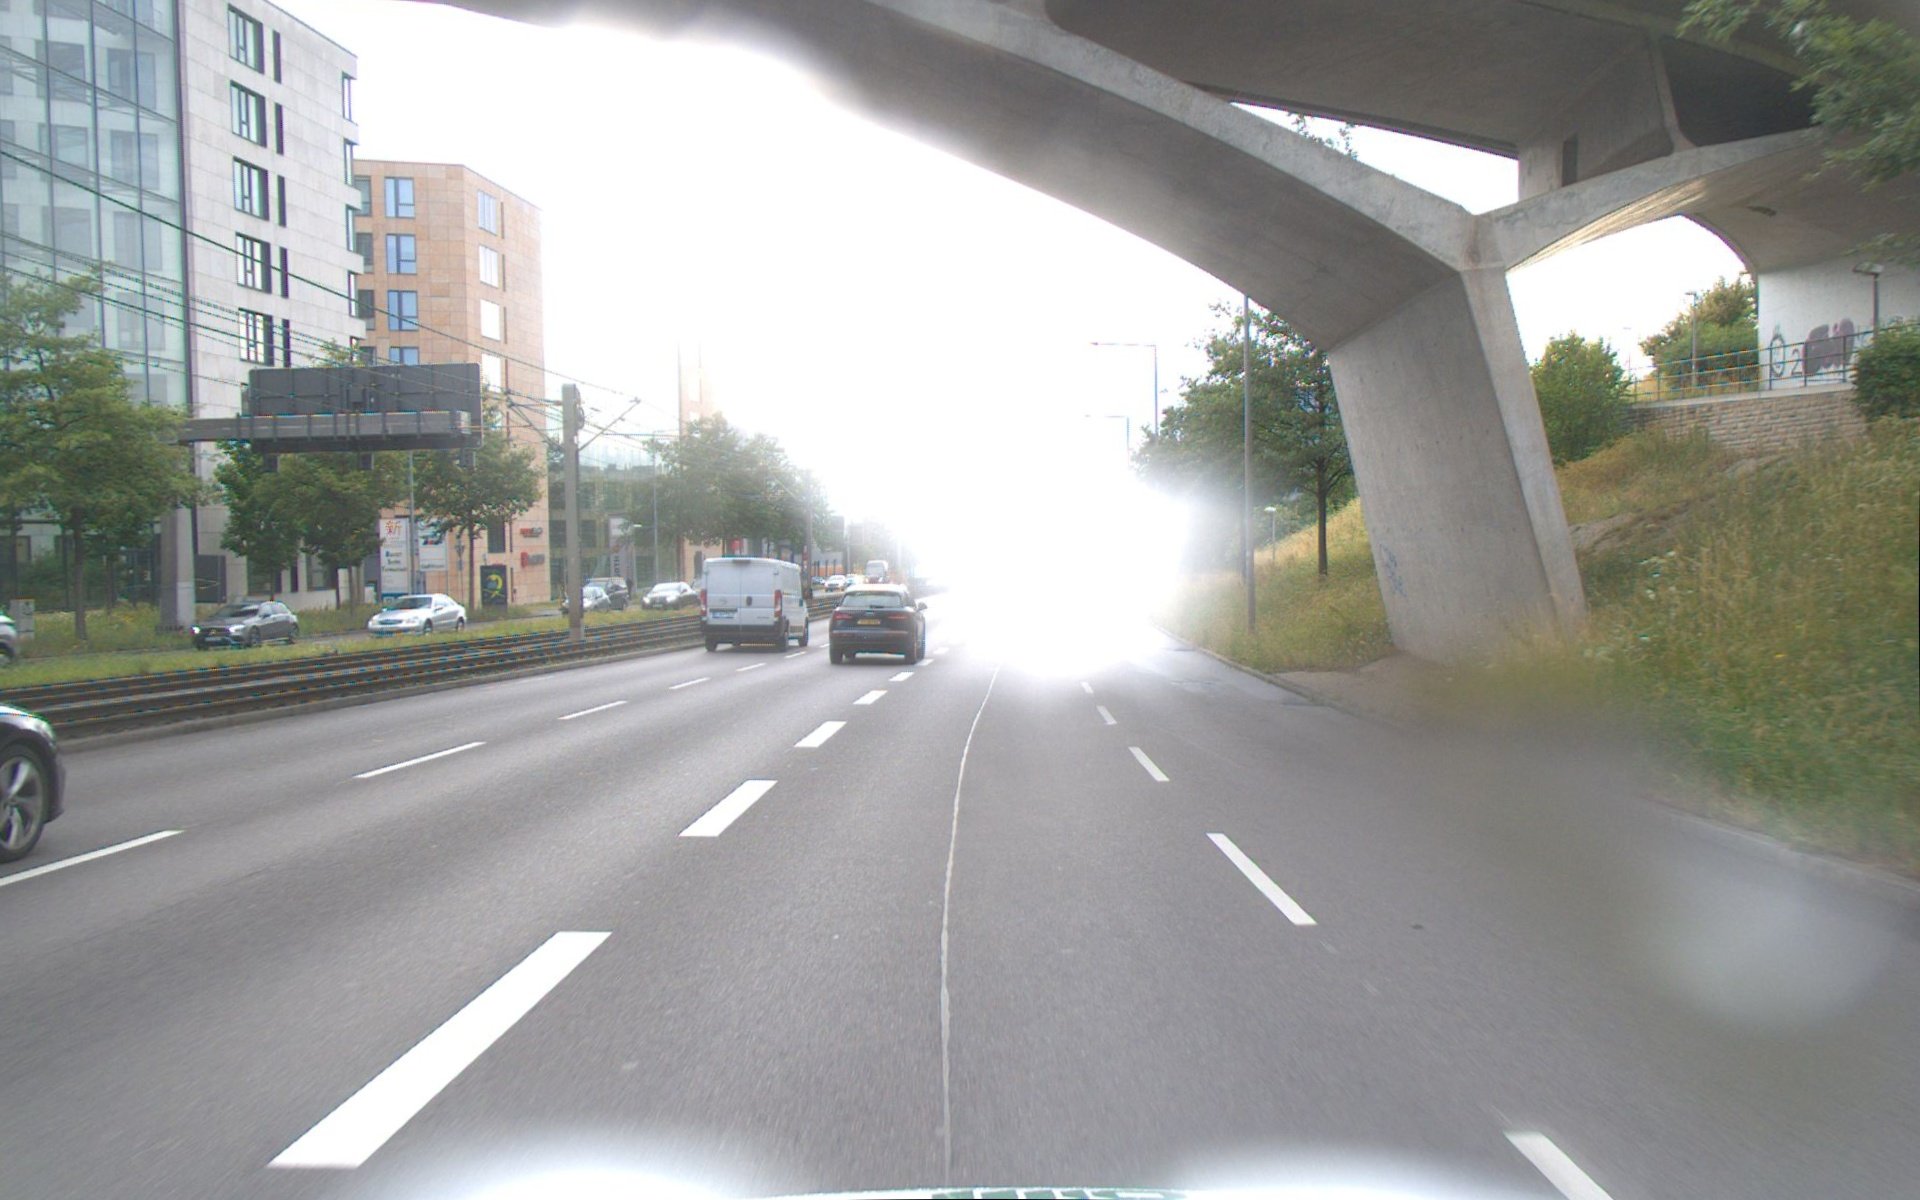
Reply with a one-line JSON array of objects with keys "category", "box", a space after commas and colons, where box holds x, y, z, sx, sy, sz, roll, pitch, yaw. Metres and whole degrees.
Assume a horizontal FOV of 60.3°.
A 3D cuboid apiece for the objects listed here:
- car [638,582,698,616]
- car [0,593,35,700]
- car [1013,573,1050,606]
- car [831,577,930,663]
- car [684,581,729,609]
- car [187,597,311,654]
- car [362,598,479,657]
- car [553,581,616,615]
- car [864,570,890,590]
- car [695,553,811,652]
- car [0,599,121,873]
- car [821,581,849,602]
[{"category": "car", "box": [-14.450, -0.075, 82.095, 1.772, 1.560, 4.872, 1, 1, 4]}, {"category": "car", "box": [-17.460, 0.822, 27.247, 1.880, 1.807, 4.227, 1, 1, 3]}, {"category": "car", "box": [3.618, -0.540, 83.973, 1.752, 1.618, 4.000, -1, 0, 1]}, {"category": "car", "box": [-1.664, 0.427, 35.937, 1.883, 1.740, 4.098, 1, -1, 1]}, {"category": "car", "box": [-15.651, -0.340, 102.285, 1.772, 1.634, 4.493, 1, 1, 4]}, {"category": "car", "box": [-22.390, 0.761, 52.256, 1.727, 1.625, 4.493, 1, 1, 4]}, {"category": "car", "box": [-16.569, 0.799, 51.057, 1.727, 1.625, 4.795, 1, 1, 4]}, {"category": "car", "box": [-17.937, -0.122, 79.260, 1.772, 1.560, 4.277, 1, 1, 4]}, {"category": "car", "box": [-7.760, -1.911, 155.525, 1.897, 1.792, 4.813, 1, 1, 4]}, {"category": "car", "box": [-5.139, 0.020, 41.747, 2.221, 2.324, 4.760, 1, 1, 1]}, {"category": "car", "box": [-5.973, 0.713, 7.490, 1.748, 1.438, 4.807, 0, 0, 2]}, {"category": "car", "box": [-11.564, -0.785, 152.837, 1.897, 1.792, 4.813, 1, 1, 4]}]
